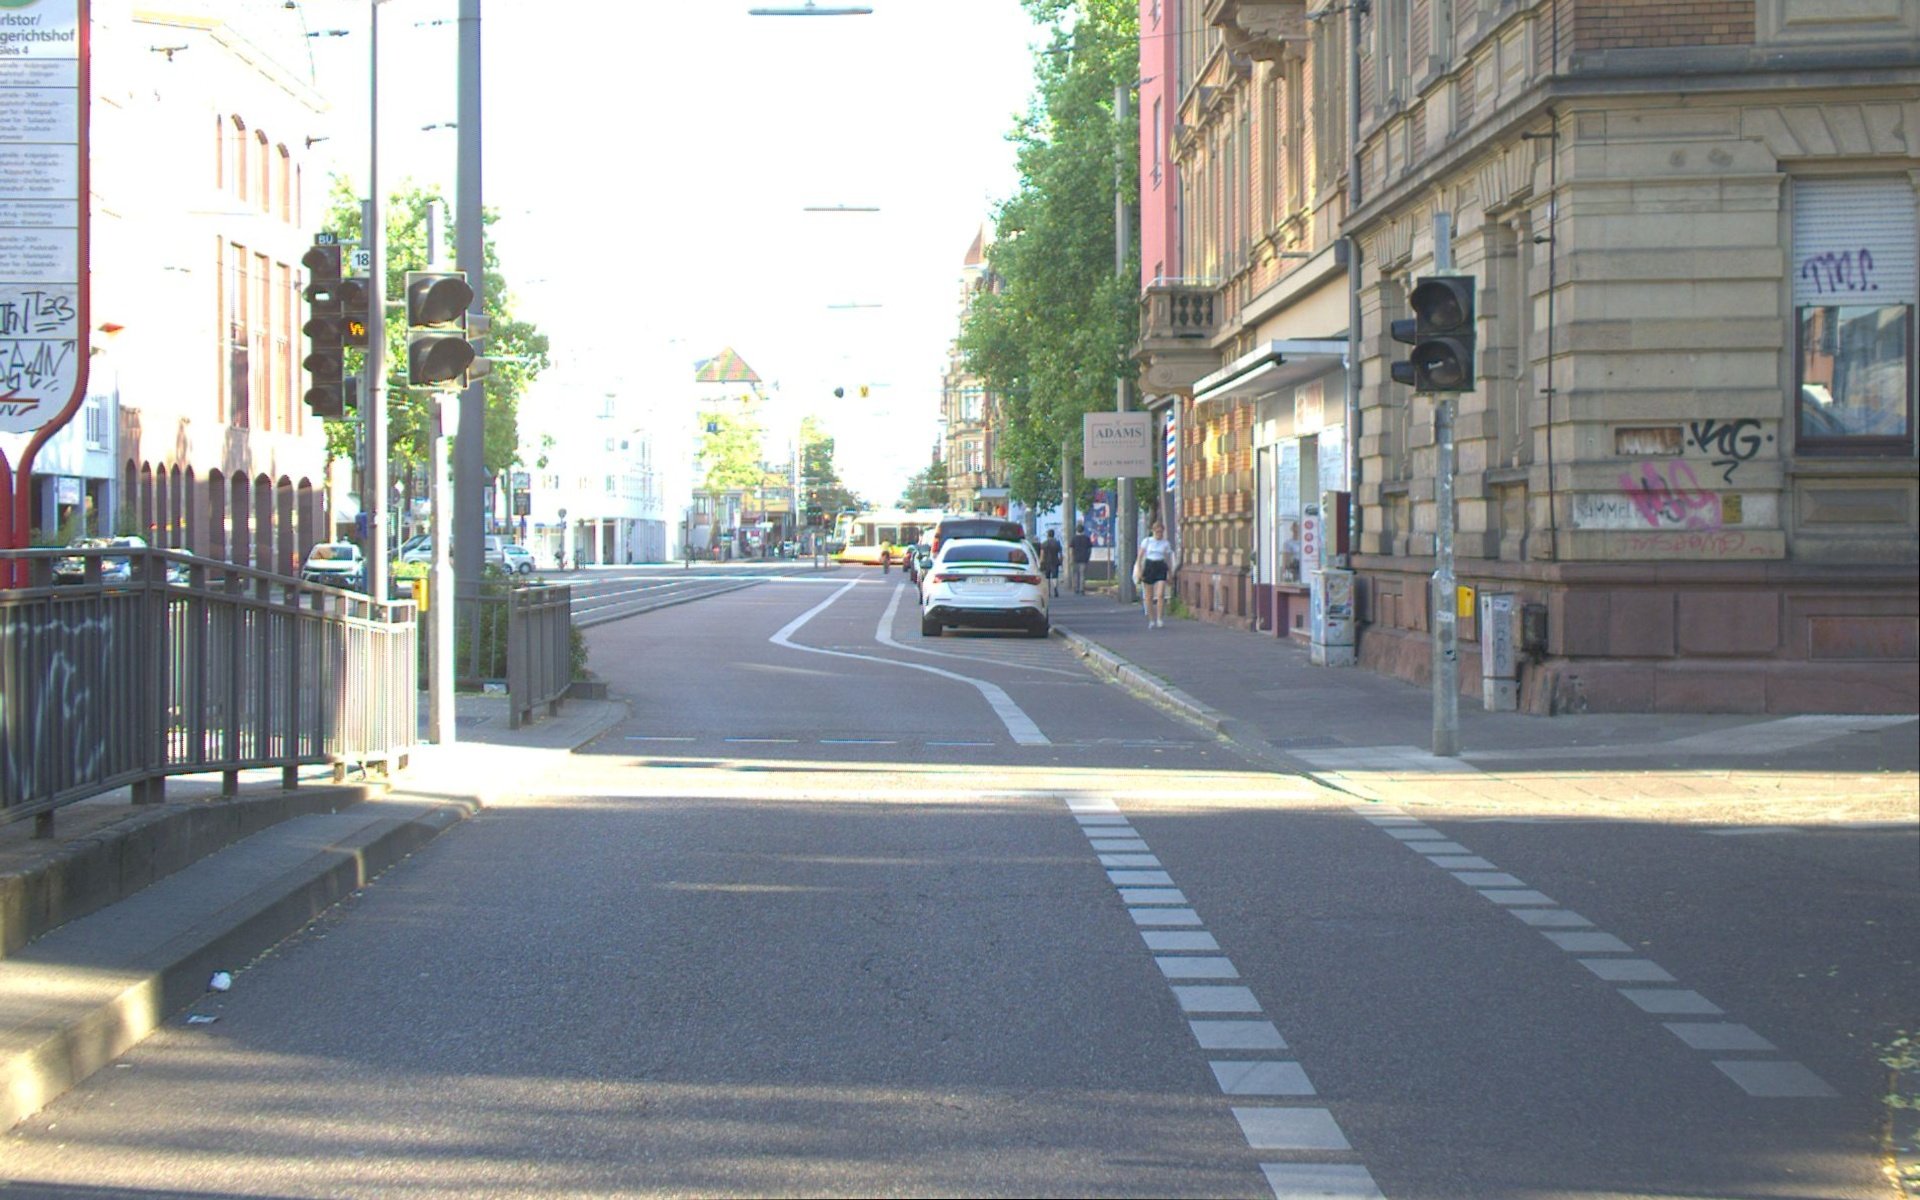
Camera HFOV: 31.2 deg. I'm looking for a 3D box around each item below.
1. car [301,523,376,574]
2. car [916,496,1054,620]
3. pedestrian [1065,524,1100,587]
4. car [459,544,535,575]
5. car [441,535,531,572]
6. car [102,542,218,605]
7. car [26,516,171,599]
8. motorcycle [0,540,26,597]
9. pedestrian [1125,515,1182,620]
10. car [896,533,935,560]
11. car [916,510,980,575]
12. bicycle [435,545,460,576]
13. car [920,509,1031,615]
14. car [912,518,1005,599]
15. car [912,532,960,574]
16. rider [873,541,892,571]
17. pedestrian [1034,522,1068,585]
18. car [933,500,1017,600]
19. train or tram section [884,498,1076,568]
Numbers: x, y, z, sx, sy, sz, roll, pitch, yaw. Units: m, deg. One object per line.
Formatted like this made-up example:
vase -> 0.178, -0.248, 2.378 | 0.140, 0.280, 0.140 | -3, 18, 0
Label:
car -> -19.935, -1.661, 110.389 | 1.869, 1.594, 4.255 | 1, 1, -4
car -> 0.367, -0.653, 52.788 | 1.966, 1.765, 4.875 | 2, 1, 0
pedestrian -> 3.113, -1.143, 87.487 | 0.776, 1.561, 0.914 | -3, 1, 0
car -> -23.913, -2.085, 177.729 | 3.519, 1.476, 1.582 | 2, 1, -32
car -> -23.129, -2.265, 167.608 | 3.868, 1.622, 1.876 | 2, 1, -31
car -> -19.490, -0.655, 83.852 | 1.869, 1.445, 3.583 | 1, 1, 2
car -> -19.085, -0.917, 76.366 | 2.090, 1.707, 4.819 | 2, 0, -2
motorcycle -> -20.645, -0.677, 74.475 | 0.669, 1.201, 2.141 | 2, 0, -18
pedestrian -> 2.971, -0.504, 52.919 | 0.776, 1.561, 0.913 | -3, 1, 2
car -> -2.455, -2.930, 188.828 | 2.065, 1.384, 4.225 | 3, 1, -1
car -> -0.385, -1.844, 110.502 | 1.971, 2.007, 4.558 | -1, 1, 0
bicycle -> -17.916, -1.382, 120.093 | 0.582, 1.074, 2.186 | -2, 1, -15
car -> 0.289, -0.738, 64.753 | 1.955, 1.862, 4.989 | 2, 1, 0
car -> -0.062, -0.977, 80.858 | 1.949, 1.782, 5.182 | 2, 1, -2
car -> -0.926, -1.770, 129.269 | 1.723, 1.562, 4.083 | 0, 1, -1
rider -> -3.843, -2.178, 169.965 | 0.883, 1.476, 0.713 | 2, 1, 0
pedestrian -> 2.310, -1.181, 87.486 | 0.776, 1.561, 0.914 | -3, 1, 0
car -> 0.359, -1.078, 75.448 | 1.705, 2.112, 3.706 | 1, 0, 2
train or tram section -> 1.313, -4.352, 222.596 | 12.046, 3.946, 2.702 | 2, 1, -20
